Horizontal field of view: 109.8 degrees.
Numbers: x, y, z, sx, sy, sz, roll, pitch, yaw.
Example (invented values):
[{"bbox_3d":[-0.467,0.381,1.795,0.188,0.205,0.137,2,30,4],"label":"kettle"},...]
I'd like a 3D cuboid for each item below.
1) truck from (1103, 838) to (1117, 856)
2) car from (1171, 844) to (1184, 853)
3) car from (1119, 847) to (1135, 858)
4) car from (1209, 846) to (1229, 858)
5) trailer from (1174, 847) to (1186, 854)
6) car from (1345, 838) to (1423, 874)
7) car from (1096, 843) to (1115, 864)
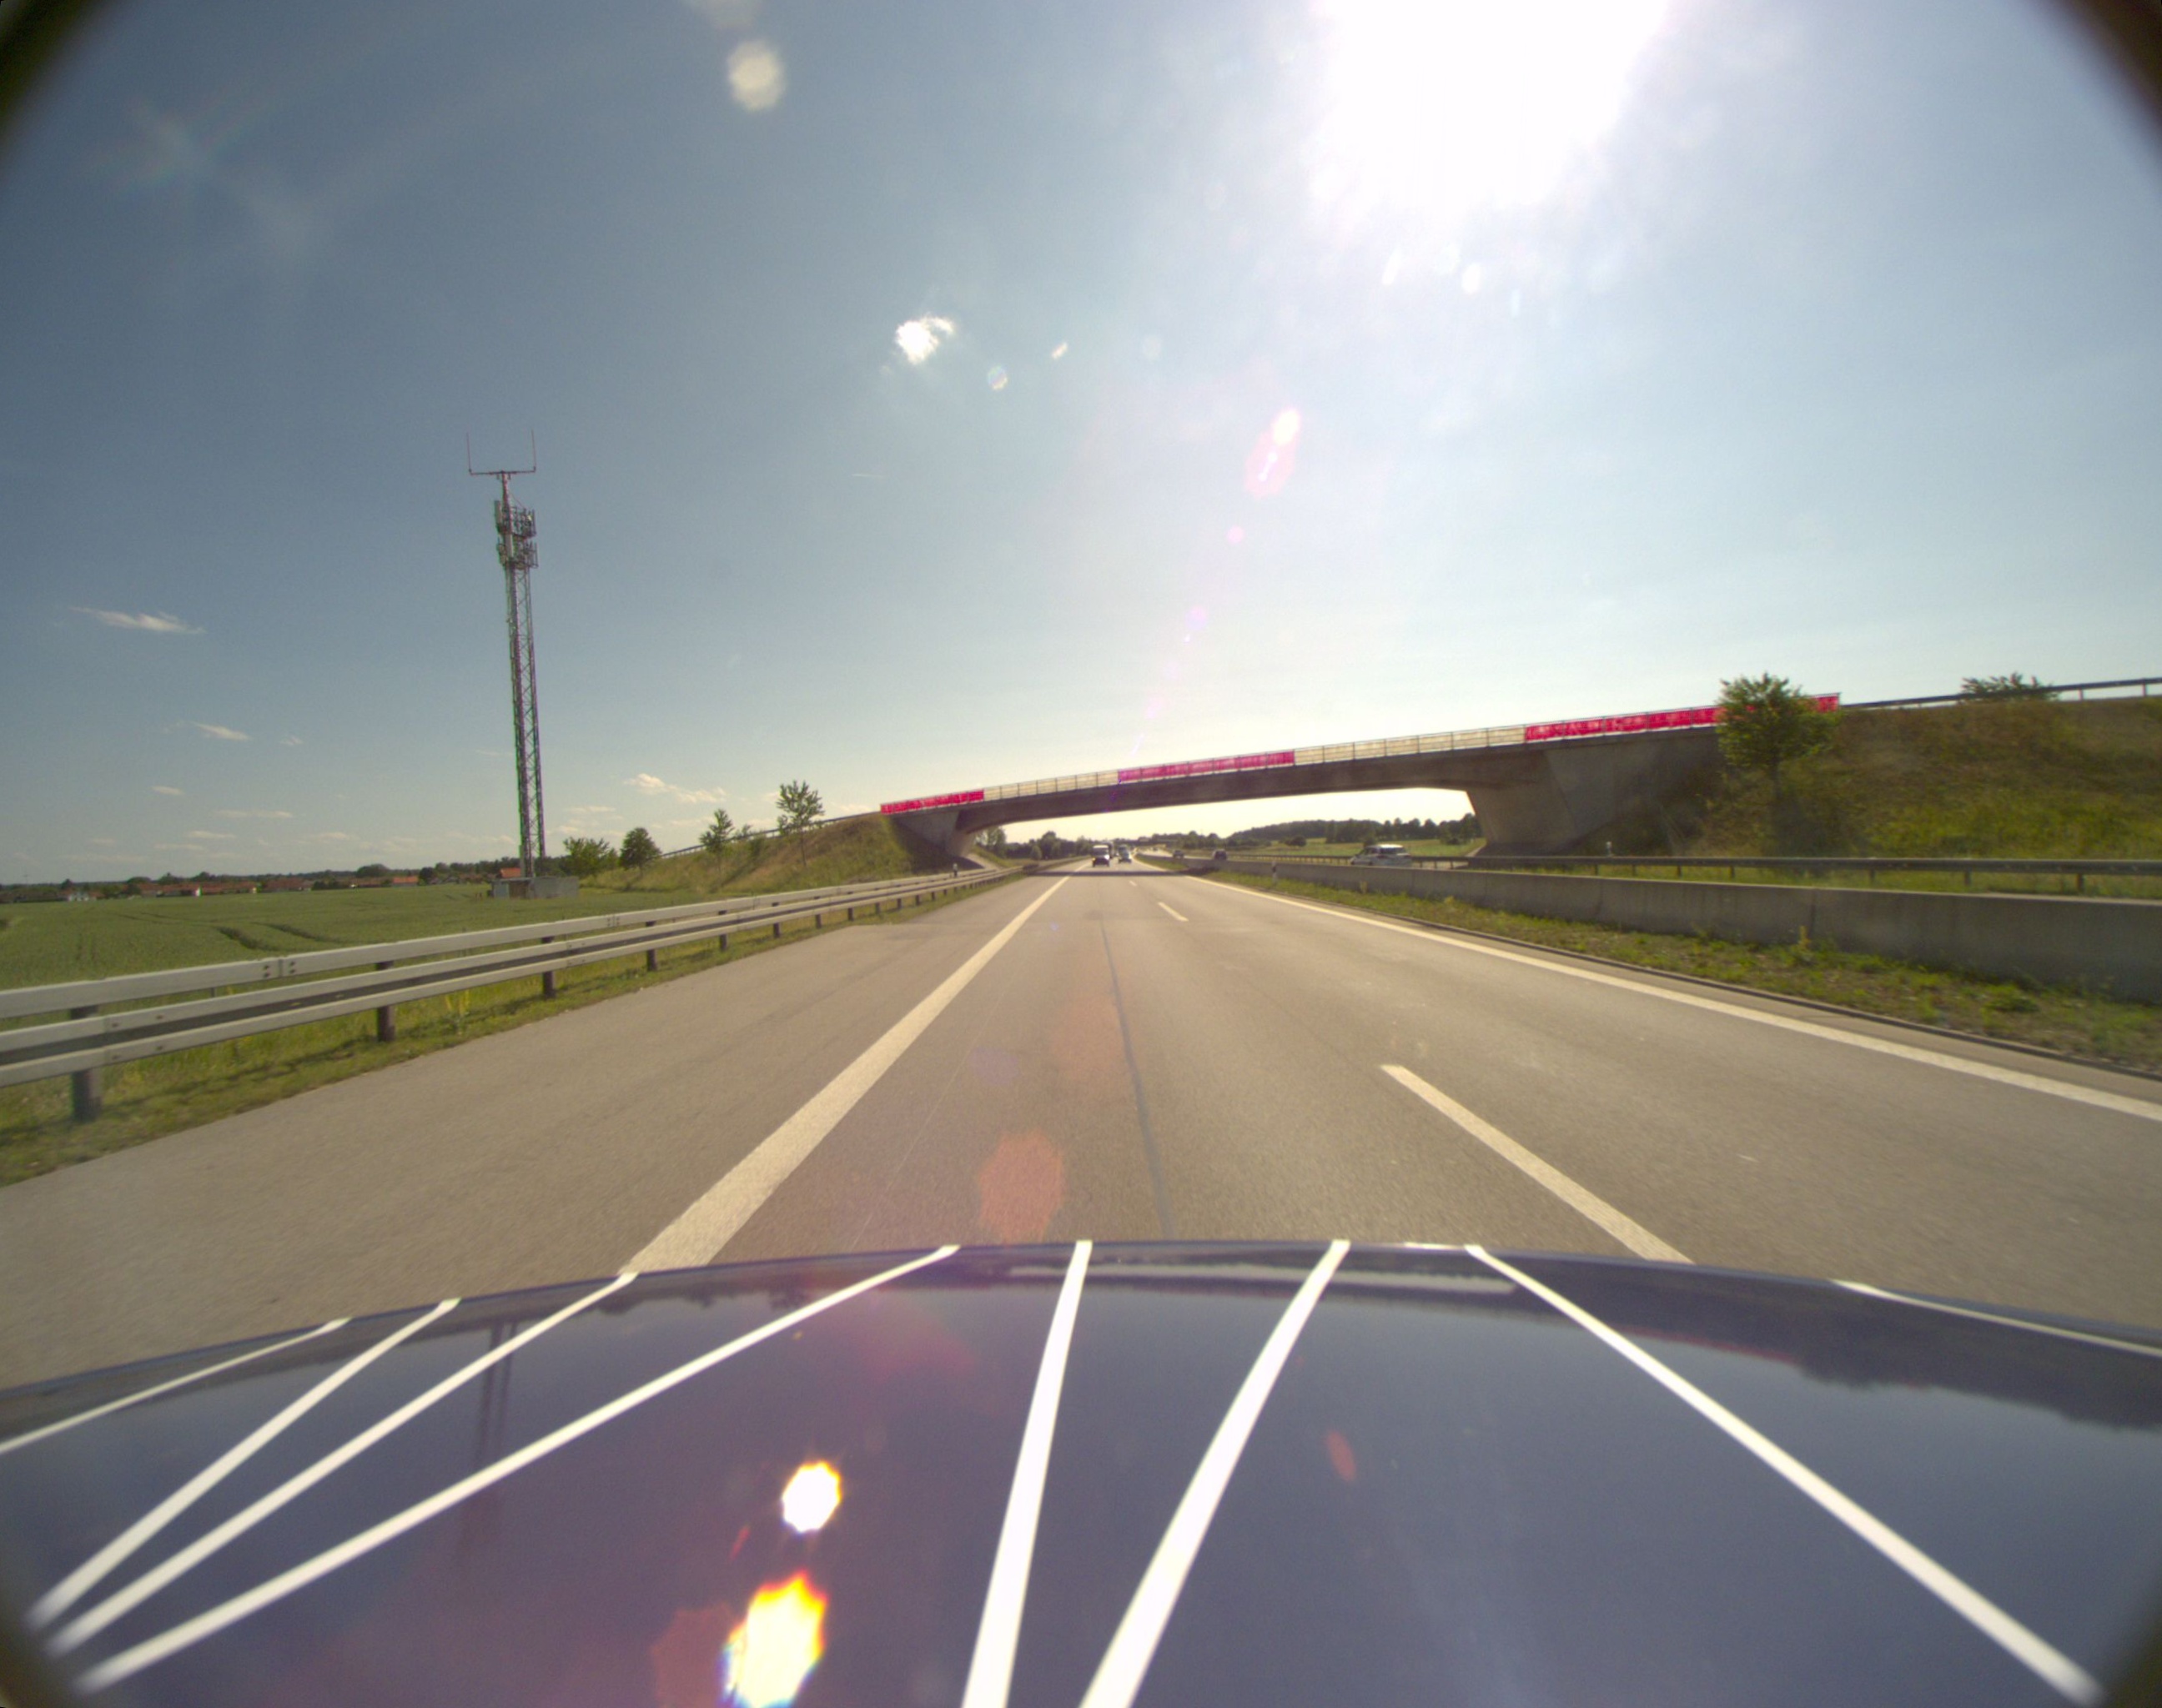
[{"bbox_3d":[6.290,-1.579,165.532,2.762,3.792,7.517,-3,1,2],"label":"truck"},{"bbox_3d":[19.720,-1.045,155.842,1.998,1.721,5.587,-2,0,2],"label":"car"},{"bbox_3d":[6.434,-0.222,106.928,2.030,1.600,4.819,-1,0,2],"label":"car"},{"bbox_3d":[17.909,-0.292,98.448,1.859,1.452,4.195,-2,1,1],"label":"car"},{"bbox_3d":[19.600,-0.733,150.918,1.998,1.250,4.262,-3,0,2],"label":"trailer"},{"bbox_3d":[15.115,0.071,38.210,1.998,1.569,4.895,-3,1,1],"label":"car"},{"bbox_3d":[2.723,-0.036,85.471,2.030,2.225,4.818,-2,1,2],"label":"car"}]
